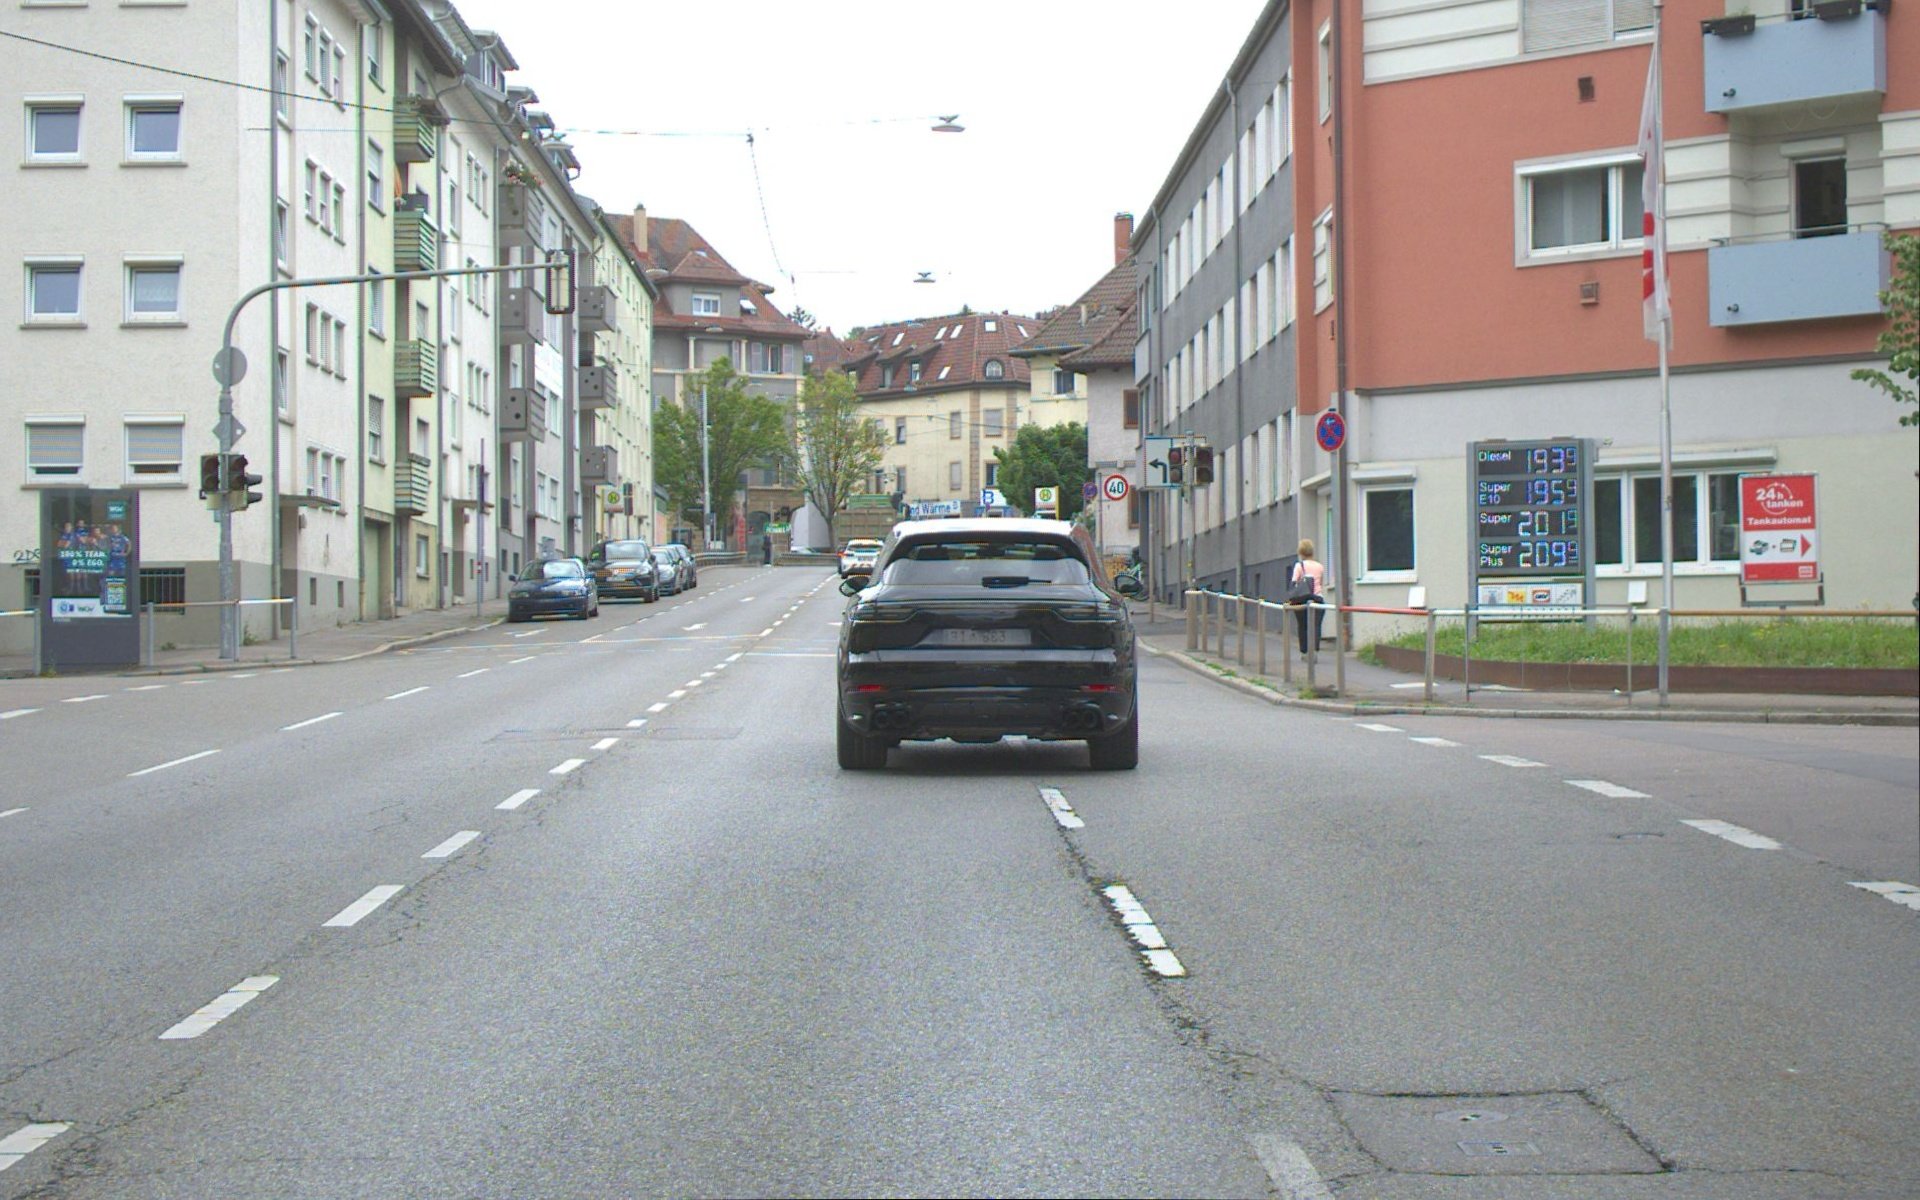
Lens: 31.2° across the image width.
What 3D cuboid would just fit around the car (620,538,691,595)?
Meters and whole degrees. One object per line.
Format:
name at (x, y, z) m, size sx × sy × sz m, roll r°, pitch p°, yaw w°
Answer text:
car at (-9.052, -1.023, 102.312) m, size 1.765 × 1.644 × 4.000 m, roll -1°, pitch 1°, yaw 0°

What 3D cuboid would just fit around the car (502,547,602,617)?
car at (-9.087, -0.426, 76.759) m, size 1.765 × 1.503 × 4.000 m, roll -1°, pitch 1°, yaw 0°

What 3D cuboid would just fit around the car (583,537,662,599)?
car at (-9.134, -0.887, 93.370) m, size 1.765 × 1.644 × 4.000 m, roll -1°, pitch 1°, yaw 0°

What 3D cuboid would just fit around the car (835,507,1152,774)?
car at (0.181, 0.200, 23.609) m, size 1.993 × 1.656 × 4.001 m, roll 0°, pitch 2°, yaw -1°

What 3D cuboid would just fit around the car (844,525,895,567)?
car at (-3.316, -2.003, 126.638) m, size 1.765 × 1.503 × 4.000 m, roll -1°, pitch 1°, yaw 0°

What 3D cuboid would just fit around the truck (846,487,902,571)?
truck at (-3.624, -2.982, 145.005) m, size 2.266 × 3.412 × 9.879 m, roll -1°, pitch 1°, yaw -1°

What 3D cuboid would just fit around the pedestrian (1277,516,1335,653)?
pedestrian at (4.530, -0.210, 44.996) m, size 0.652 × 1.786 × 0.715 m, roll 0°, pitch 1°, yaw -3°
